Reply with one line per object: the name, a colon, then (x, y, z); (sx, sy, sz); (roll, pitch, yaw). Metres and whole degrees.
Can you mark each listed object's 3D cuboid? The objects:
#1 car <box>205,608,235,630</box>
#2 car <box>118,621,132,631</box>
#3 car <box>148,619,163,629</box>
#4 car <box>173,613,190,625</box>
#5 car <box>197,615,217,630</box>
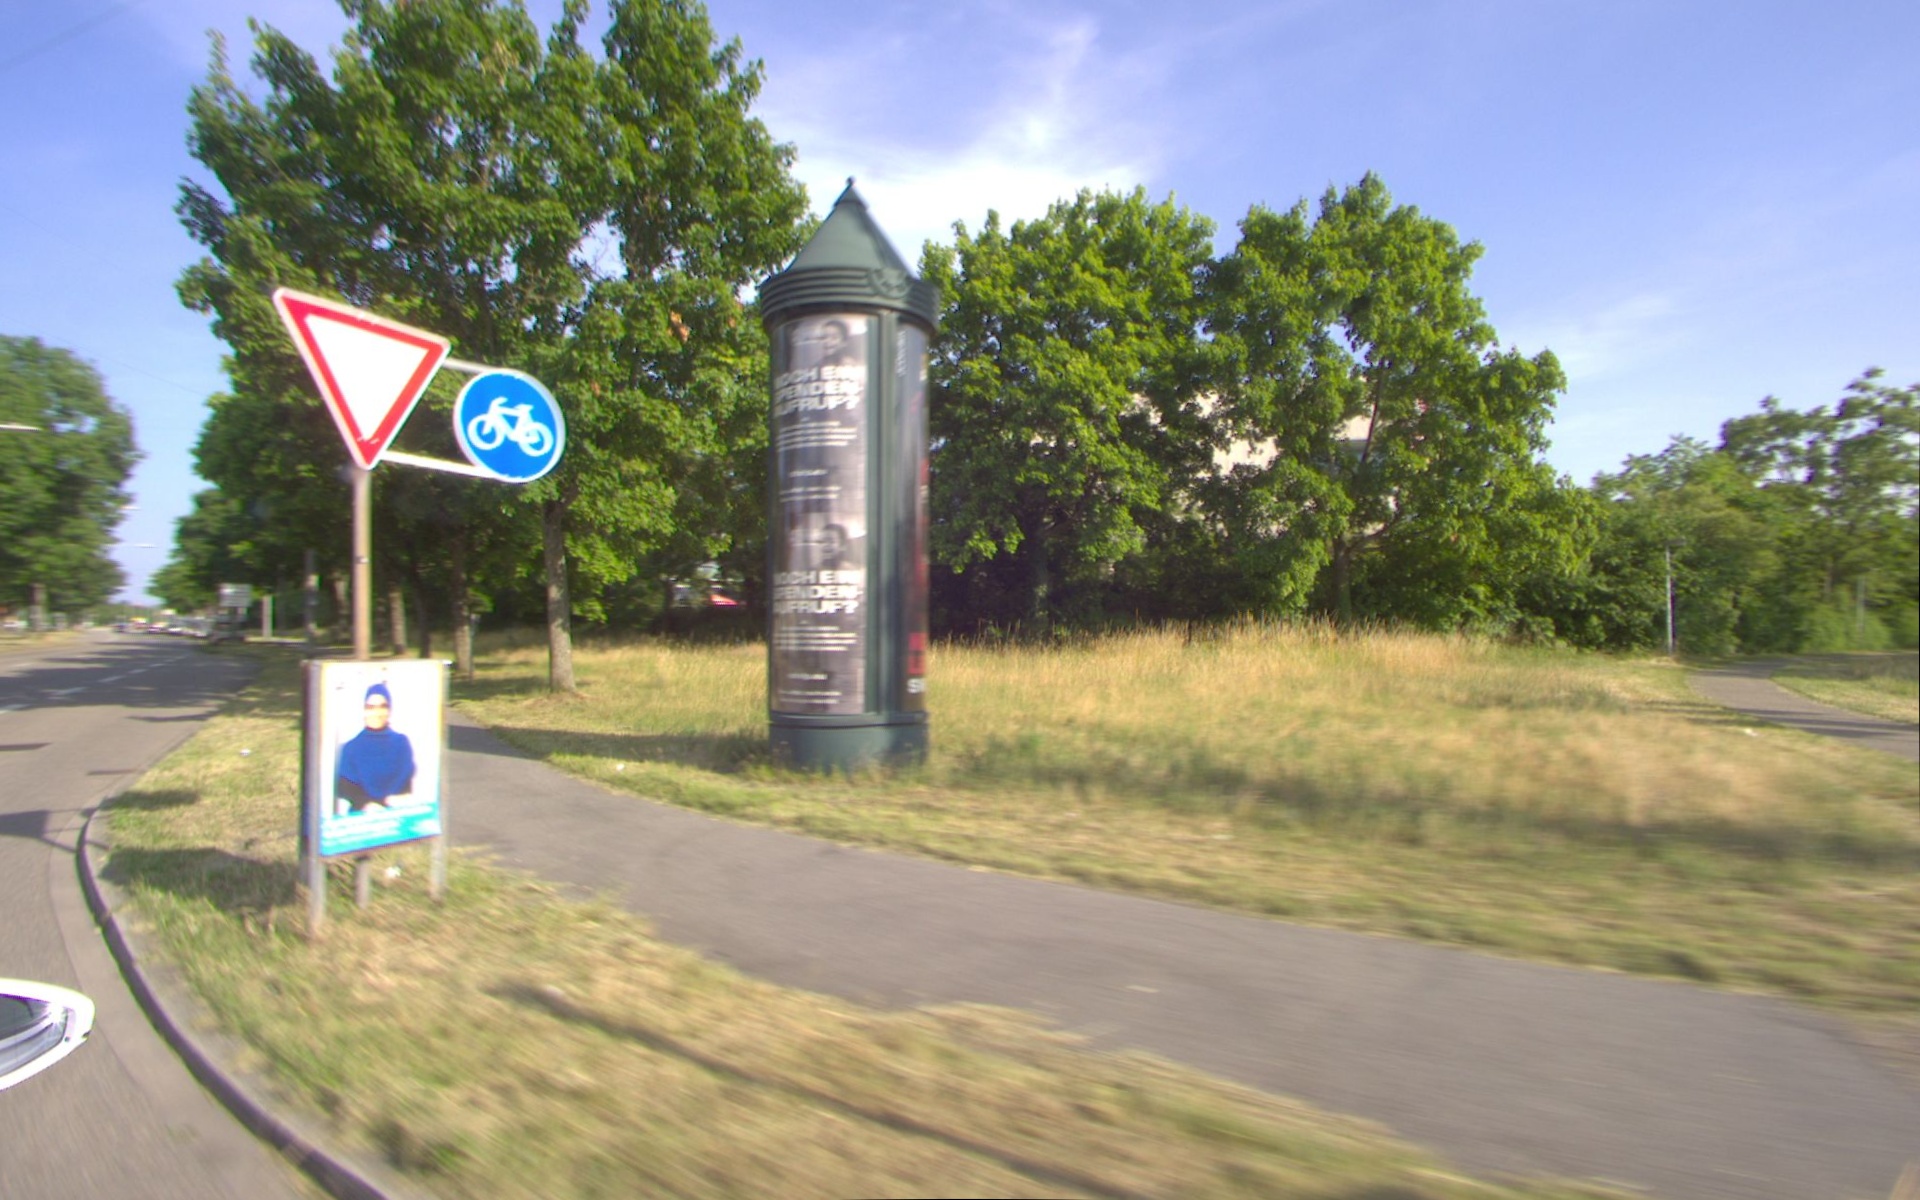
car: (-70.361, 1.776, 95.174); (1.978, 2.040, 4.096); (1, -1, -41)
car: (-155.068, 4.816, 186.007); (1.799, 1.727, 3.963); (0, -2, -43)
car: (-137.875, 4.109, 171.589); (1.799, 1.727, 3.963); (0, -2, -43)
car: (-129.645, 3.158, 166.743); (1.981, 2.040, 3.961); (1, -1, -44)
car: (-102.093, 3.066, 135.763); (1.977, 2.040, 3.967); (1, -1, -39)
